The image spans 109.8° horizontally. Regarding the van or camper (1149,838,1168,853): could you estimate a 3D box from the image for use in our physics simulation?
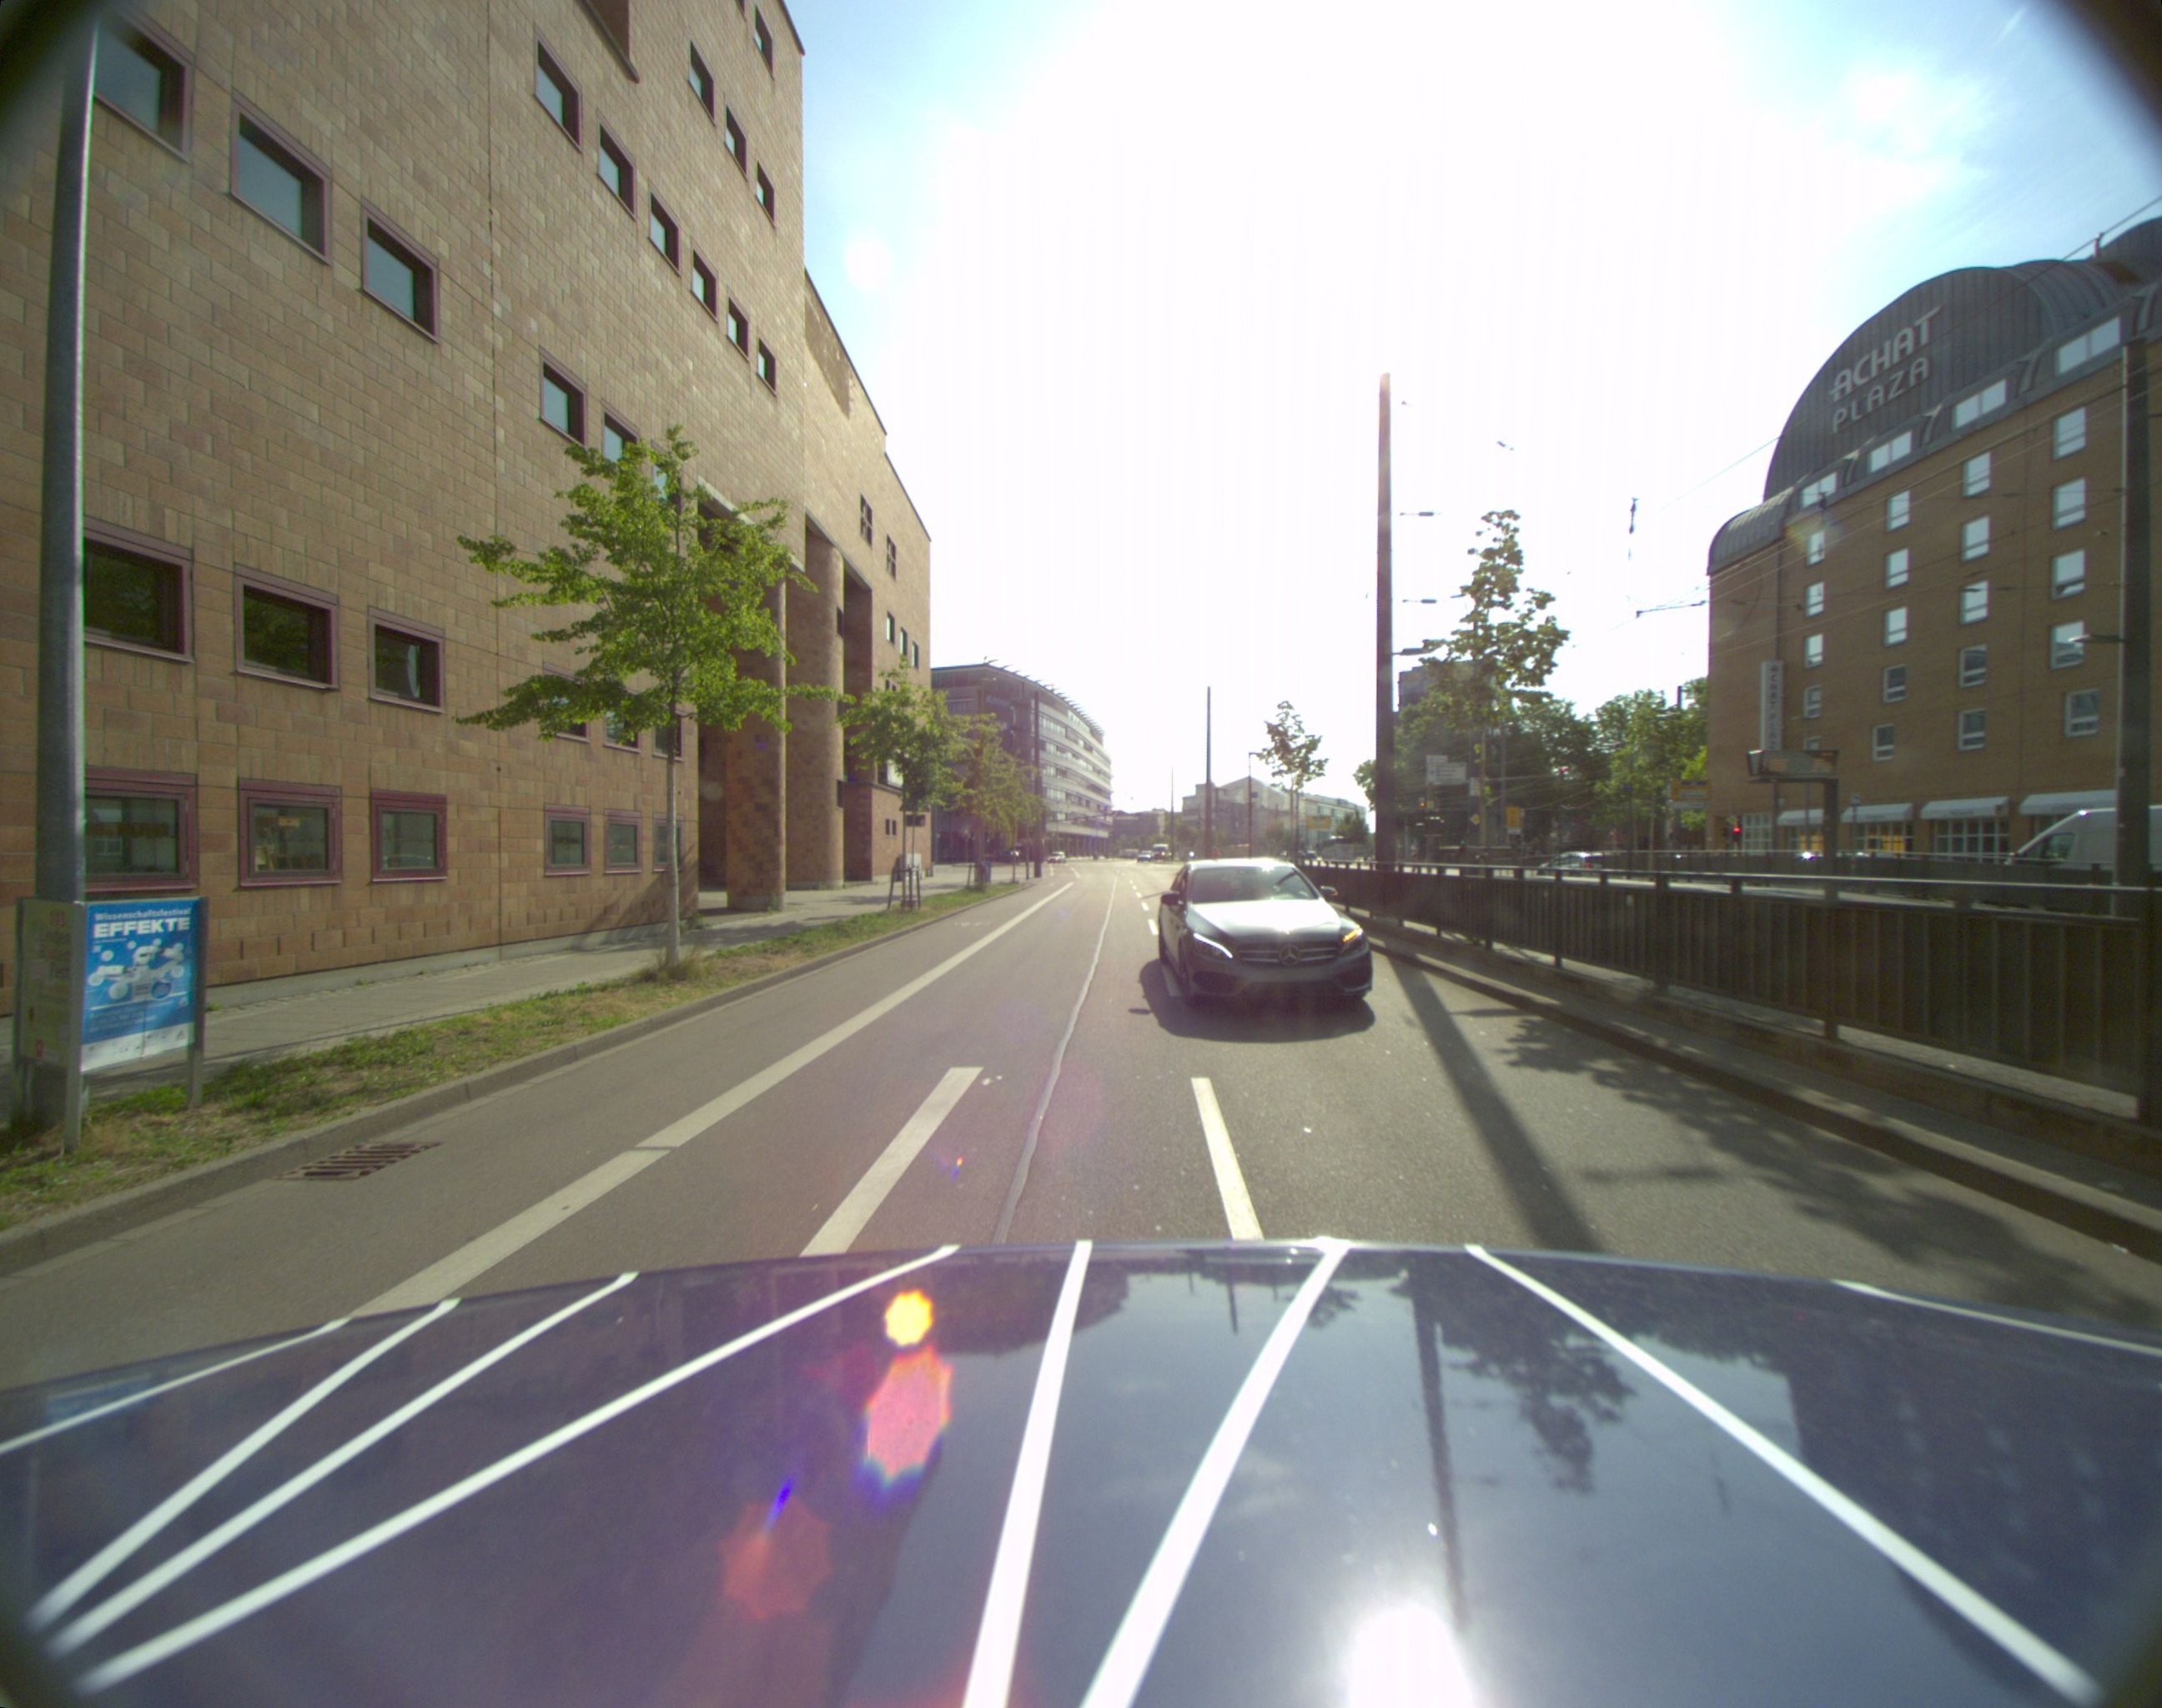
[{"bbox_3d":[11.330,-1.208,110.935,1.931,2.198,3.991,1,1,18],"label":"van or camper"}]

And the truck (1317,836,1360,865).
[{"bbox_3d":[34.700,-0.533,102.848,3.166,3.755,12.365,0,1,7],"label":"truck"}]

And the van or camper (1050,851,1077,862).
[{"bbox_3d":[-2.234,0.299,97.196,1.930,1.305,3.993,1,1,25],"label":"van or camper"}]

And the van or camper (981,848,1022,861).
[{"bbox_3d":[-9.205,0.024,88.098,4.221,1.434,1.995,0,1,-31],"label":"van or camper"}]

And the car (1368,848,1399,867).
[{"bbox_3d":[31.809,0.352,79.950,1.997,2.002,4.001,0,1,6],"label":"car"}]

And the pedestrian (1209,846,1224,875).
[{"bbox_3d":[7.862,0.360,43.991,0.582,1.624,0.645,-1,1,-30],"label":"pedestrian"}]

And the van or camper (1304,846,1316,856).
[{"bbox_3d":[42.524,-0.575,141.187,1.925,1.691,4.004,0,1,15],"label":"van or camper"}]

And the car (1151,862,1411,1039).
[{"bbox_3d":[1.920,0.856,8.671,1.907,1.385,4.235,-1,1,1],"label":"car"}]

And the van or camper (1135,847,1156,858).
[{"bbox_3d":[8.458,-0.207,99.799,1.931,1.305,3.991,0,1,18],"label":"van or camper"}]

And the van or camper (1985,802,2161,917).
[{"bbox_3d":[19.899,0.101,13.254,2.087,2.002,5.342,0,1,4],"label":"van or camper"}]

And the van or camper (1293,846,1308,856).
[{"bbox_3d":[35.111,-0.425,121.603,1.843,1.543,4.003,0,1,11],"label":"van or camper"}]

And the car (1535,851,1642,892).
[{"bbox_3d":[21.465,0.689,32.347,1.998,1.608,4.025,0,1,4],"label":"car"}]

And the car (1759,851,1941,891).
[{"bbox_3d":[20.709,0.426,20.675,1.548,0.965,3.489,0,1,4],"label":"car"}]
